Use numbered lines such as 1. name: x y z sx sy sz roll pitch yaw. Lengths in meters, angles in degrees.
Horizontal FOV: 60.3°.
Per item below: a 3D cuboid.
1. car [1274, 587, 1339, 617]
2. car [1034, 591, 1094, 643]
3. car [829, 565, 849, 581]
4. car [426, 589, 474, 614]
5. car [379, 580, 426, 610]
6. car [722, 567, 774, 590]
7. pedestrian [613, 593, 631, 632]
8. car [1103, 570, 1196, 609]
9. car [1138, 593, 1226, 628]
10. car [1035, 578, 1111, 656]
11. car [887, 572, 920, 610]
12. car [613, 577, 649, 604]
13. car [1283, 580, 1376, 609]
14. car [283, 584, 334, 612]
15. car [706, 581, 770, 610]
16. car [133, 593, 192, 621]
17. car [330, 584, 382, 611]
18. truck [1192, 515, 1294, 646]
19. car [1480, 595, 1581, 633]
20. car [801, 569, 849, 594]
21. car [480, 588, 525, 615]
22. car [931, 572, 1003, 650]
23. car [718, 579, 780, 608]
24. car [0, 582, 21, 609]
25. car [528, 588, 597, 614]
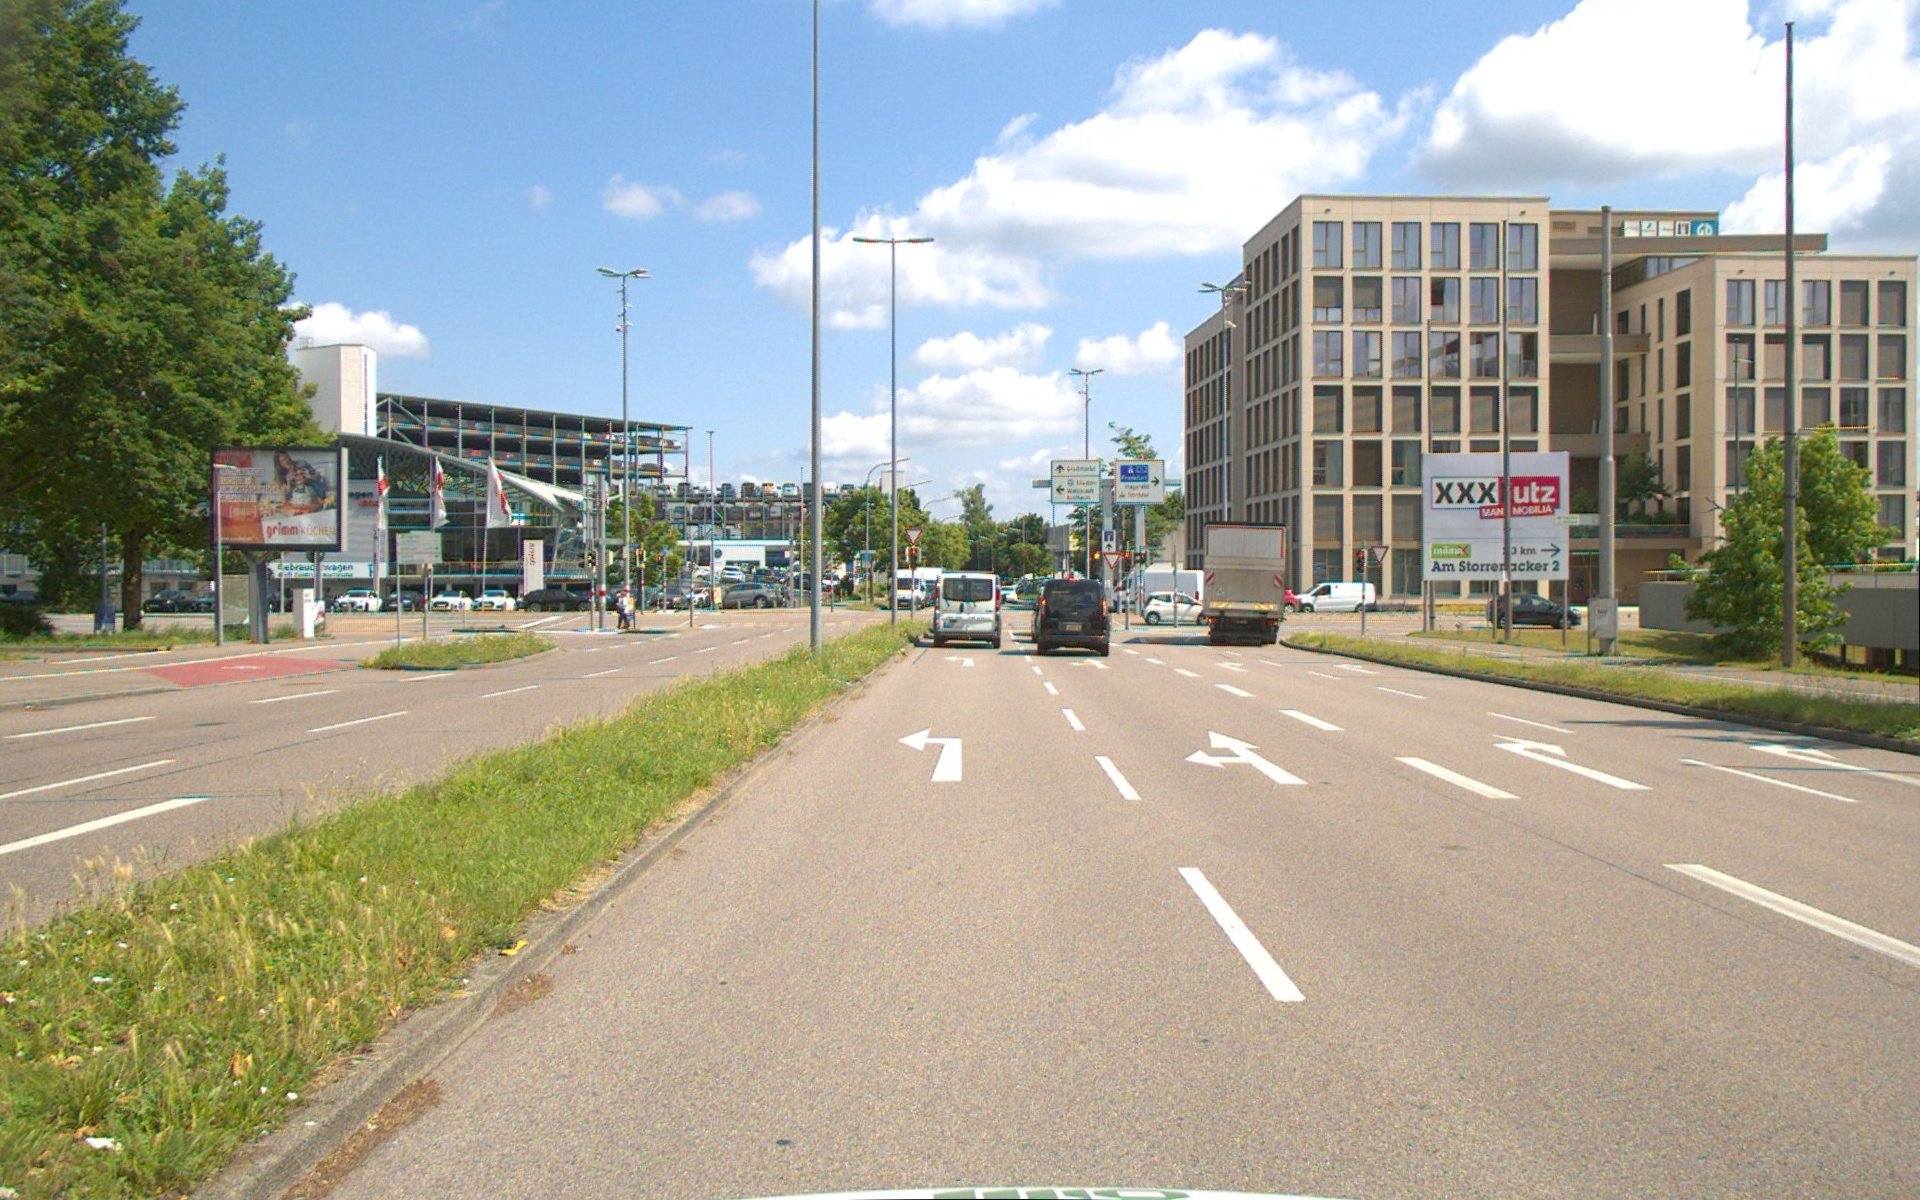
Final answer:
1. car: 18.741 0.098 89.574 3.207 1.428 1.335 0 9 -2
2. car: 3.216 0.503 51.593 1.704 1.521 4.001 1 0 1
3. car: -11.436 -2.569 156.589 1.809 1.556 3.998 0 1 -4
4. car: -30.242 0.056 98.133 1.869 1.400 3.750 0 1 -3
5. car: -32.936 -0.304 97.761 1.722 1.689 3.615 0 1 -4
6. car: -17.250 -1.784 134.855 4.084 1.742 1.687 1 1 -6
7. pedestrian: -13.263 0.488 64.893 0.460 1.538 0.511 0 0 25
8. car: 11.559 -0.661 101.096 5.399 2.294 1.995 1 1 33
9. car: 10.042 0.466 74.988 3.772 1.492 1.696 0 1 0
10. car: 2.829 0.390 41.550 1.781 1.840 4.002 1 1 3
11. car: -3.635 -0.604 106.837 1.931 2.295 4.980 -2 1 -1
12. car: -19.629 -0.557 98.700 1.788 1.579 3.982 0 0 -16
13. car: 21.183 -0.326 94.983 4.882 1.635 1.999 0 1 -2
14. car: -38.361 -0.132 97.526 1.693 1.512 3.699 0 1 -3
15. car: -13.931 -0.284 103.924 3.785 1.668 1.857 -2 1 -3
16. car: -46.054 0.373 95.563 1.801 1.514 3.698 0 1 -4
17. car: -35.648 -0.137 97.667 1.841 1.512 3.699 0 1 -3
18. truck: 9.547 -0.709 55.055 3.063 4.009 8.867 0 1 11
19. car: 25.334 0.606 73.550 4.056 1.529 1.628 -1 1 11
20. car: -11.099 -1.526 135.647 3.910 1.959 1.824 0 0 -6
21. car: -27.202 0.085 98.399 1.740 1.475 4.027 0 1 -3
22. car: 0.244 0.275 45.766 1.817 2.053 4.001 1 0 3
23. car: -13.605 -0.411 106.876 3.835 1.742 1.688 -2 1 -3
24. car: -56.825 -0.252 96.872 1.693 1.512 3.699 0 1 -3
25. car: -23.589 0.052 98.250 3.718 1.539 1.678 0 1 -5
